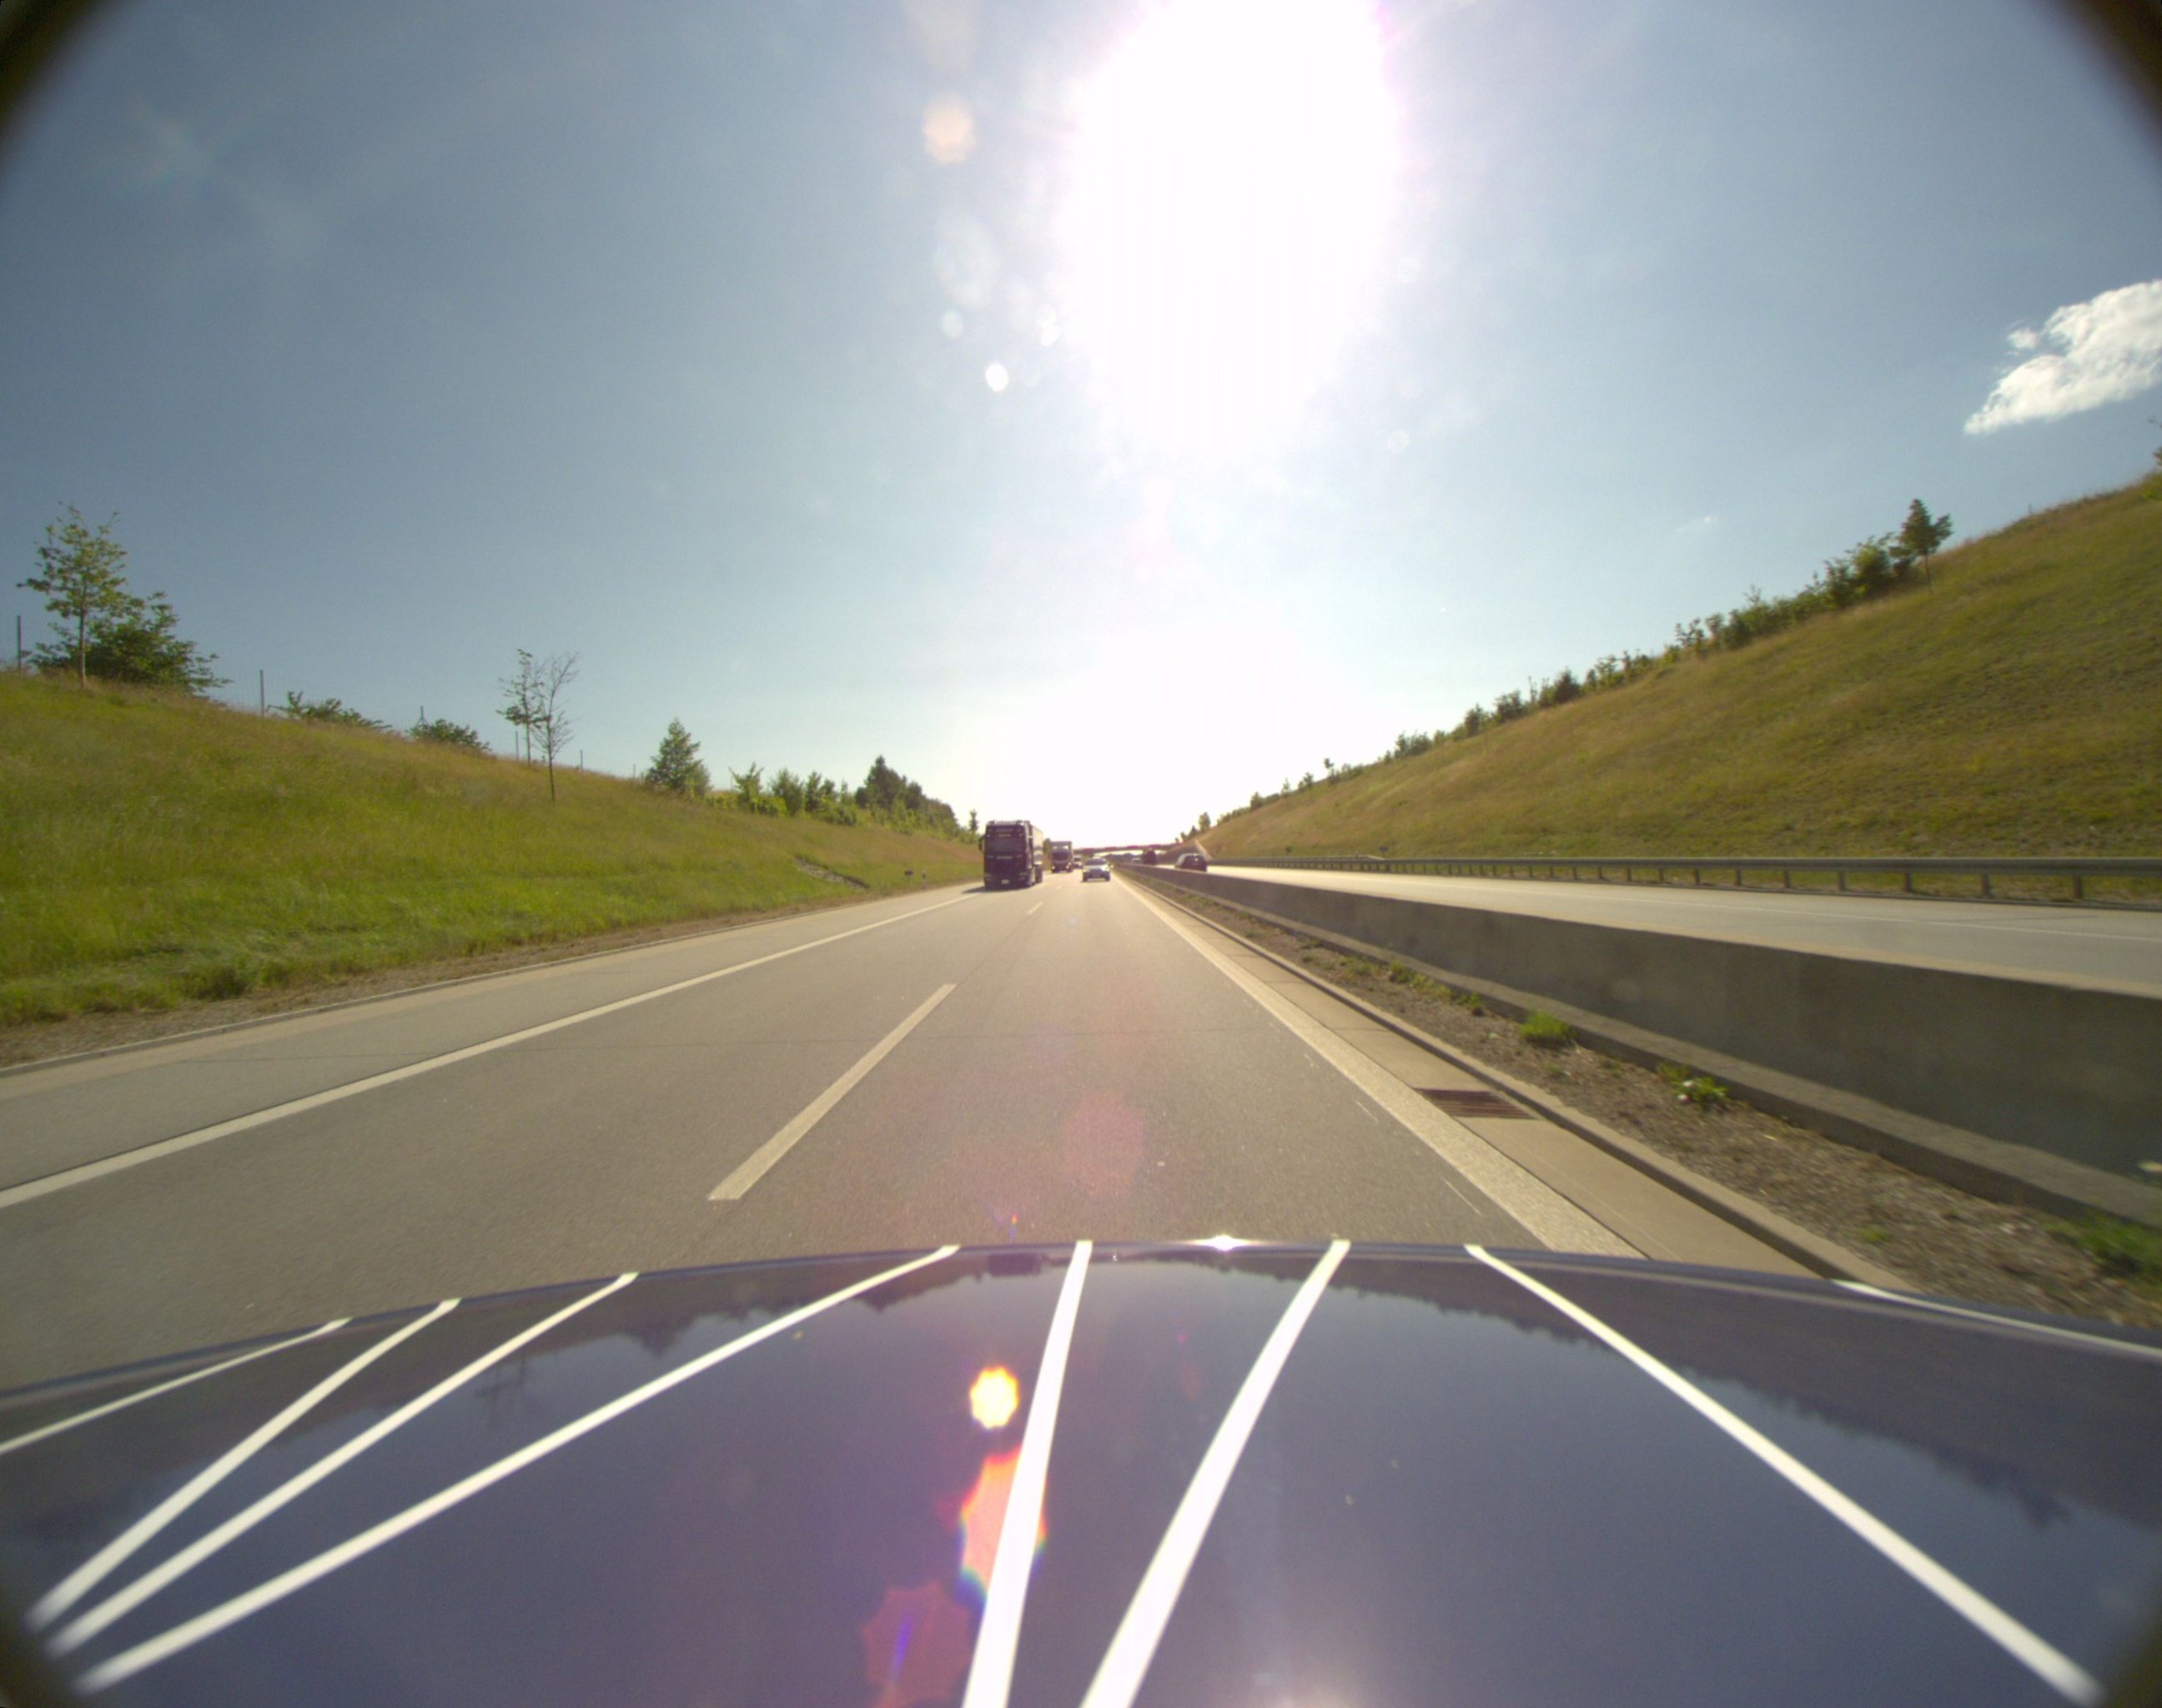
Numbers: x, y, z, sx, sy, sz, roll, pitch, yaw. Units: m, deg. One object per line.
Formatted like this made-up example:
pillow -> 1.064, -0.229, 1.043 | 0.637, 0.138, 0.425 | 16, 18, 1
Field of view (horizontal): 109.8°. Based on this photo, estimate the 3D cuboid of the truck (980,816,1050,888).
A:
truck -> -3.848, -0.116, 47.796 | 2.623, 3.795, 13.404 | -2, 0, 2

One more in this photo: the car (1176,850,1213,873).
car -> 7.992, 0.511, 53.795 | 1.858, 1.453, 4.768 | -3, 0, 0

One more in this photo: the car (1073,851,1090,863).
car -> 0.102, 0.527, 137.318 | 2.816, 2.143, 5.947 | -2, 0, 0

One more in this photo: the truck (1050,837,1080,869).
truck -> -1.983, -0.138, 98.622 | 3.024, 3.795, 13.404 | -2, 0, 2

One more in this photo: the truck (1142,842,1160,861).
truck -> 15.018, -0.551, 163.387 | 2.763, 3.918, 12.448 | -2, 0, 1

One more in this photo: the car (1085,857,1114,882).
car -> 1.284, 1.002, 51.395 | 1.795, 1.501, 3.636 | -4, 0, 3

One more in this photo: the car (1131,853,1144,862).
car -> 10.092, 0.592, 136.054 | 1.858, 1.453, 4.728 | -3, 0, 0
